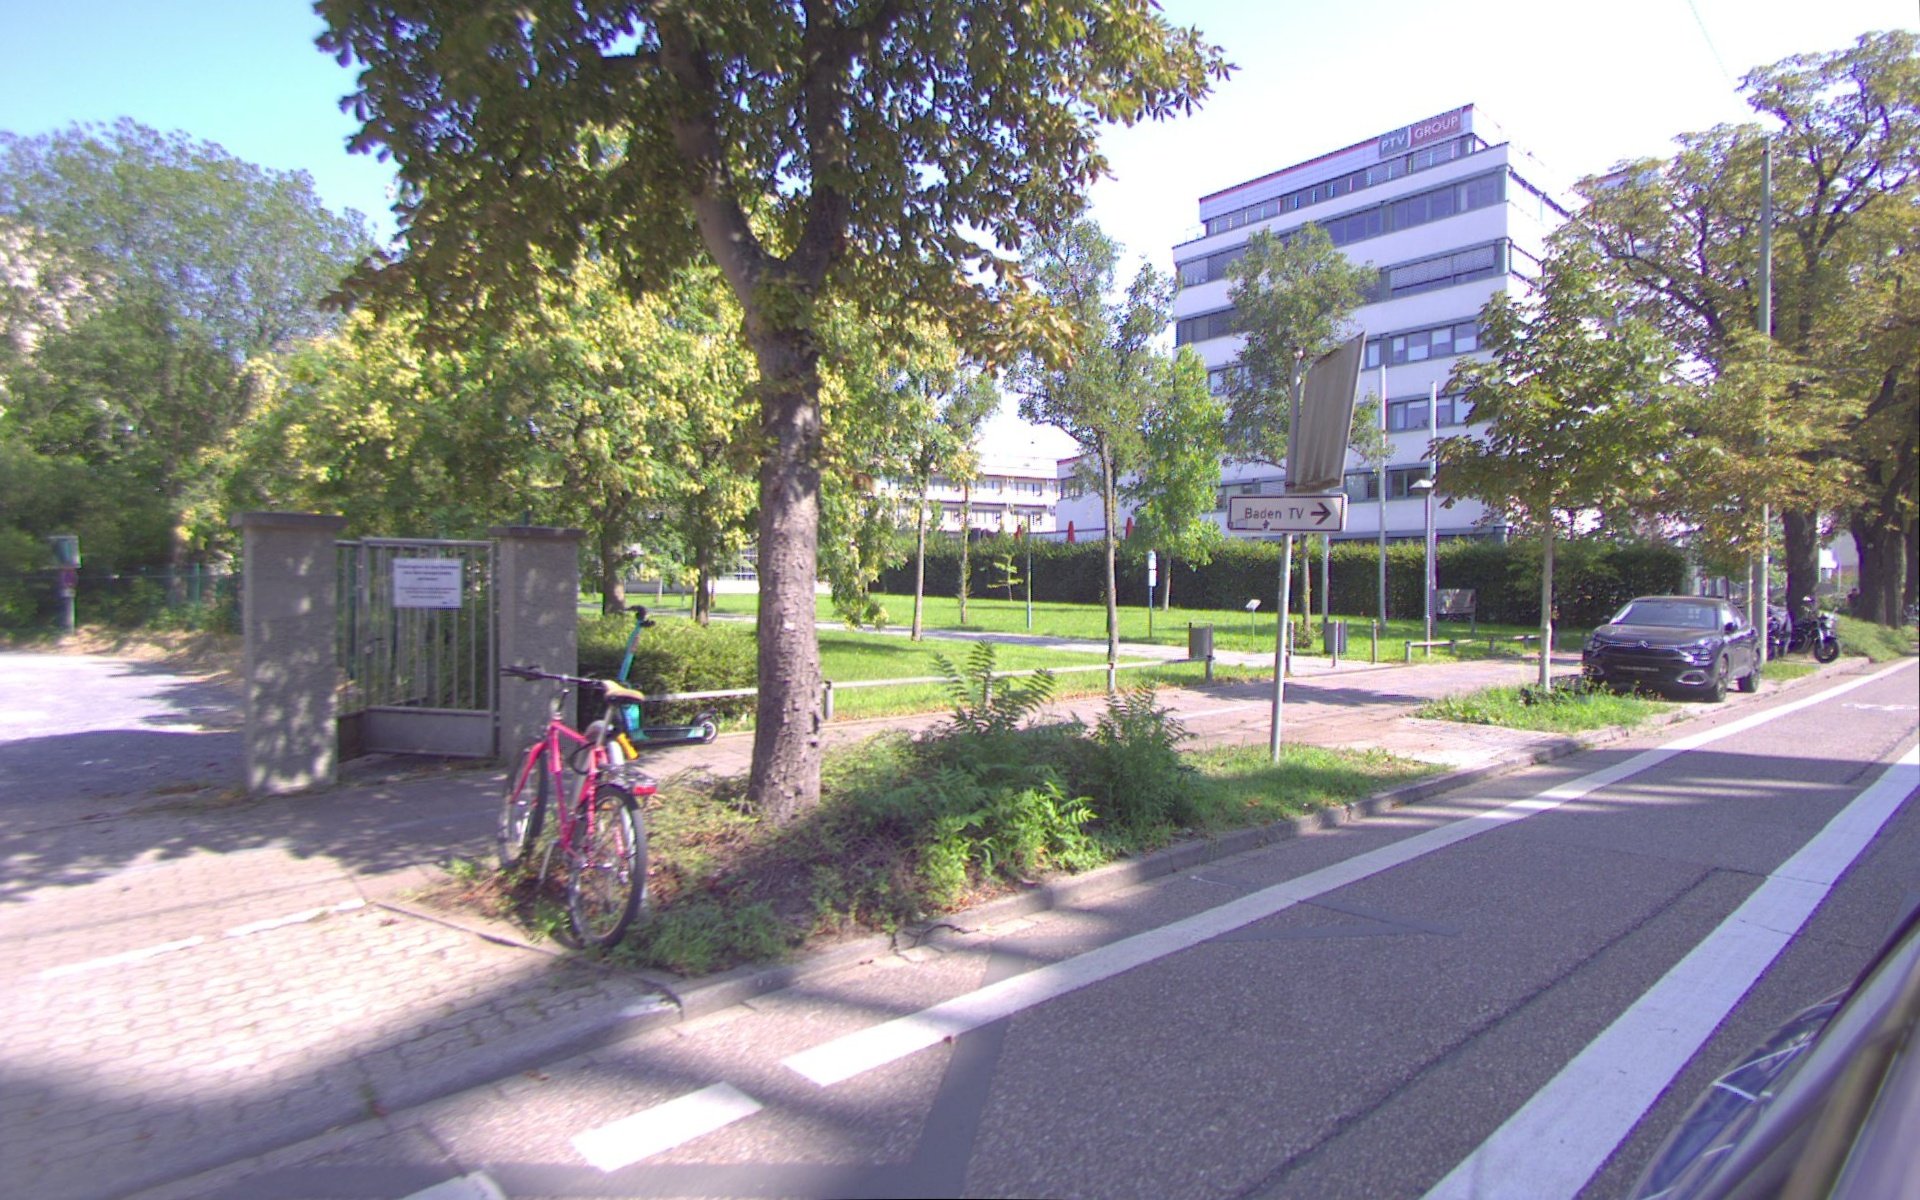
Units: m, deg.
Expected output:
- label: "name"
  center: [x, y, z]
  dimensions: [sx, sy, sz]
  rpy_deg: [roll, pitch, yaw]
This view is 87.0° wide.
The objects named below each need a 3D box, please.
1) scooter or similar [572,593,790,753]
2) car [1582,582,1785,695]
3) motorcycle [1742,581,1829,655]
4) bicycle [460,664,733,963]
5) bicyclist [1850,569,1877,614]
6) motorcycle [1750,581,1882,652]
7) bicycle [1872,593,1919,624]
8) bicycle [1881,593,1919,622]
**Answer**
- label: "scooter or similar"
  center: [-2.427, 0.584, 8.936]
  dimensions: [1.785, 1.275, 0.557]
  rpy_deg: [-1, 0, -39]
- label: "car"
  center: [11.720, 0.496, 16.269]
  dimensions: [4.532, 1.534, 1.758]
  rpy_deg: [-1, 2, -43]
- label: "motorcycle"
  center: [18.145, 0.354, 22.311]
  dimensions: [0.843, 1.535, 2.435]
  rpy_deg: [0, 0, 24]
- label: "bicycle"
  center: [-1.713, 0.840, 4.582]
  dimensions: [0.548, 0.970, 1.815]
  rpy_deg: [0, 0, -41]
- label: "bicyclist"
  center: [41.392, -0.404, 46.347]
  dimensions: [1.253, 2.039, 0.782]
  rpy_deg: [0, 0, -42]
- label: "motorcycle"
  center: [19.566, 0.335, 23.219]
  dimensions: [0.836, 1.535, 2.457]
  rpy_deg: [0, 0, -3]
- label: "bicycle"
  center: [34.412, 0.305, 36.808]
  dimensions: [0.531, 1.063, 1.774]
  rpy_deg: [0, 1, -42]
- label: "bicycle"
  center: [36.219, 0.276, 38.444]
  dimensions: [0.531, 1.063, 1.774]
  rpy_deg: [0, 1, -42]
